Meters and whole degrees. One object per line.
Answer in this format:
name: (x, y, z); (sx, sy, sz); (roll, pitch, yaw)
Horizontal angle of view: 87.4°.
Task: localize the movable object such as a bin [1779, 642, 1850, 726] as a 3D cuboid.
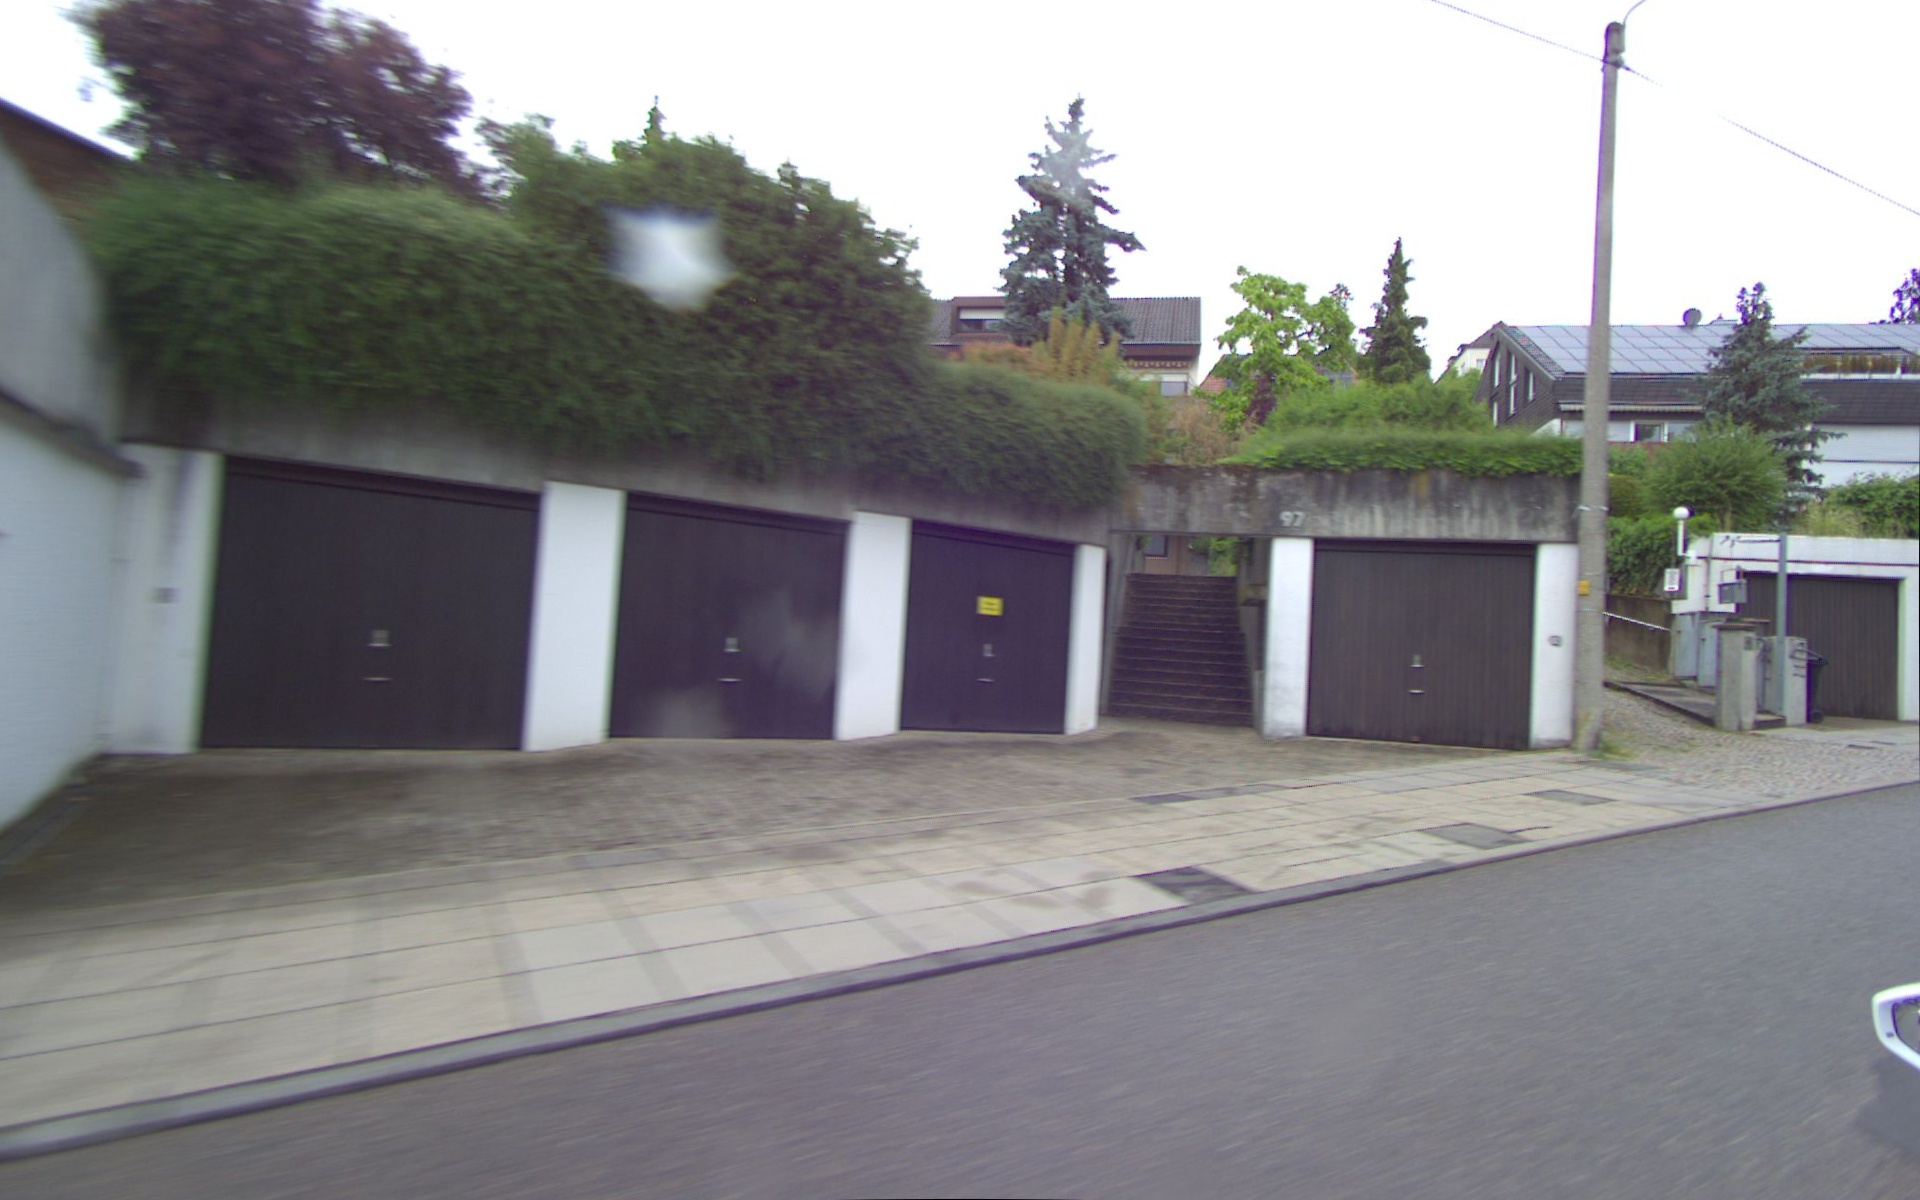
movable object such as a bin: (12.553, 1.222, 14.767); (0.589, 1.161, 0.529); (2, 0, 14)
